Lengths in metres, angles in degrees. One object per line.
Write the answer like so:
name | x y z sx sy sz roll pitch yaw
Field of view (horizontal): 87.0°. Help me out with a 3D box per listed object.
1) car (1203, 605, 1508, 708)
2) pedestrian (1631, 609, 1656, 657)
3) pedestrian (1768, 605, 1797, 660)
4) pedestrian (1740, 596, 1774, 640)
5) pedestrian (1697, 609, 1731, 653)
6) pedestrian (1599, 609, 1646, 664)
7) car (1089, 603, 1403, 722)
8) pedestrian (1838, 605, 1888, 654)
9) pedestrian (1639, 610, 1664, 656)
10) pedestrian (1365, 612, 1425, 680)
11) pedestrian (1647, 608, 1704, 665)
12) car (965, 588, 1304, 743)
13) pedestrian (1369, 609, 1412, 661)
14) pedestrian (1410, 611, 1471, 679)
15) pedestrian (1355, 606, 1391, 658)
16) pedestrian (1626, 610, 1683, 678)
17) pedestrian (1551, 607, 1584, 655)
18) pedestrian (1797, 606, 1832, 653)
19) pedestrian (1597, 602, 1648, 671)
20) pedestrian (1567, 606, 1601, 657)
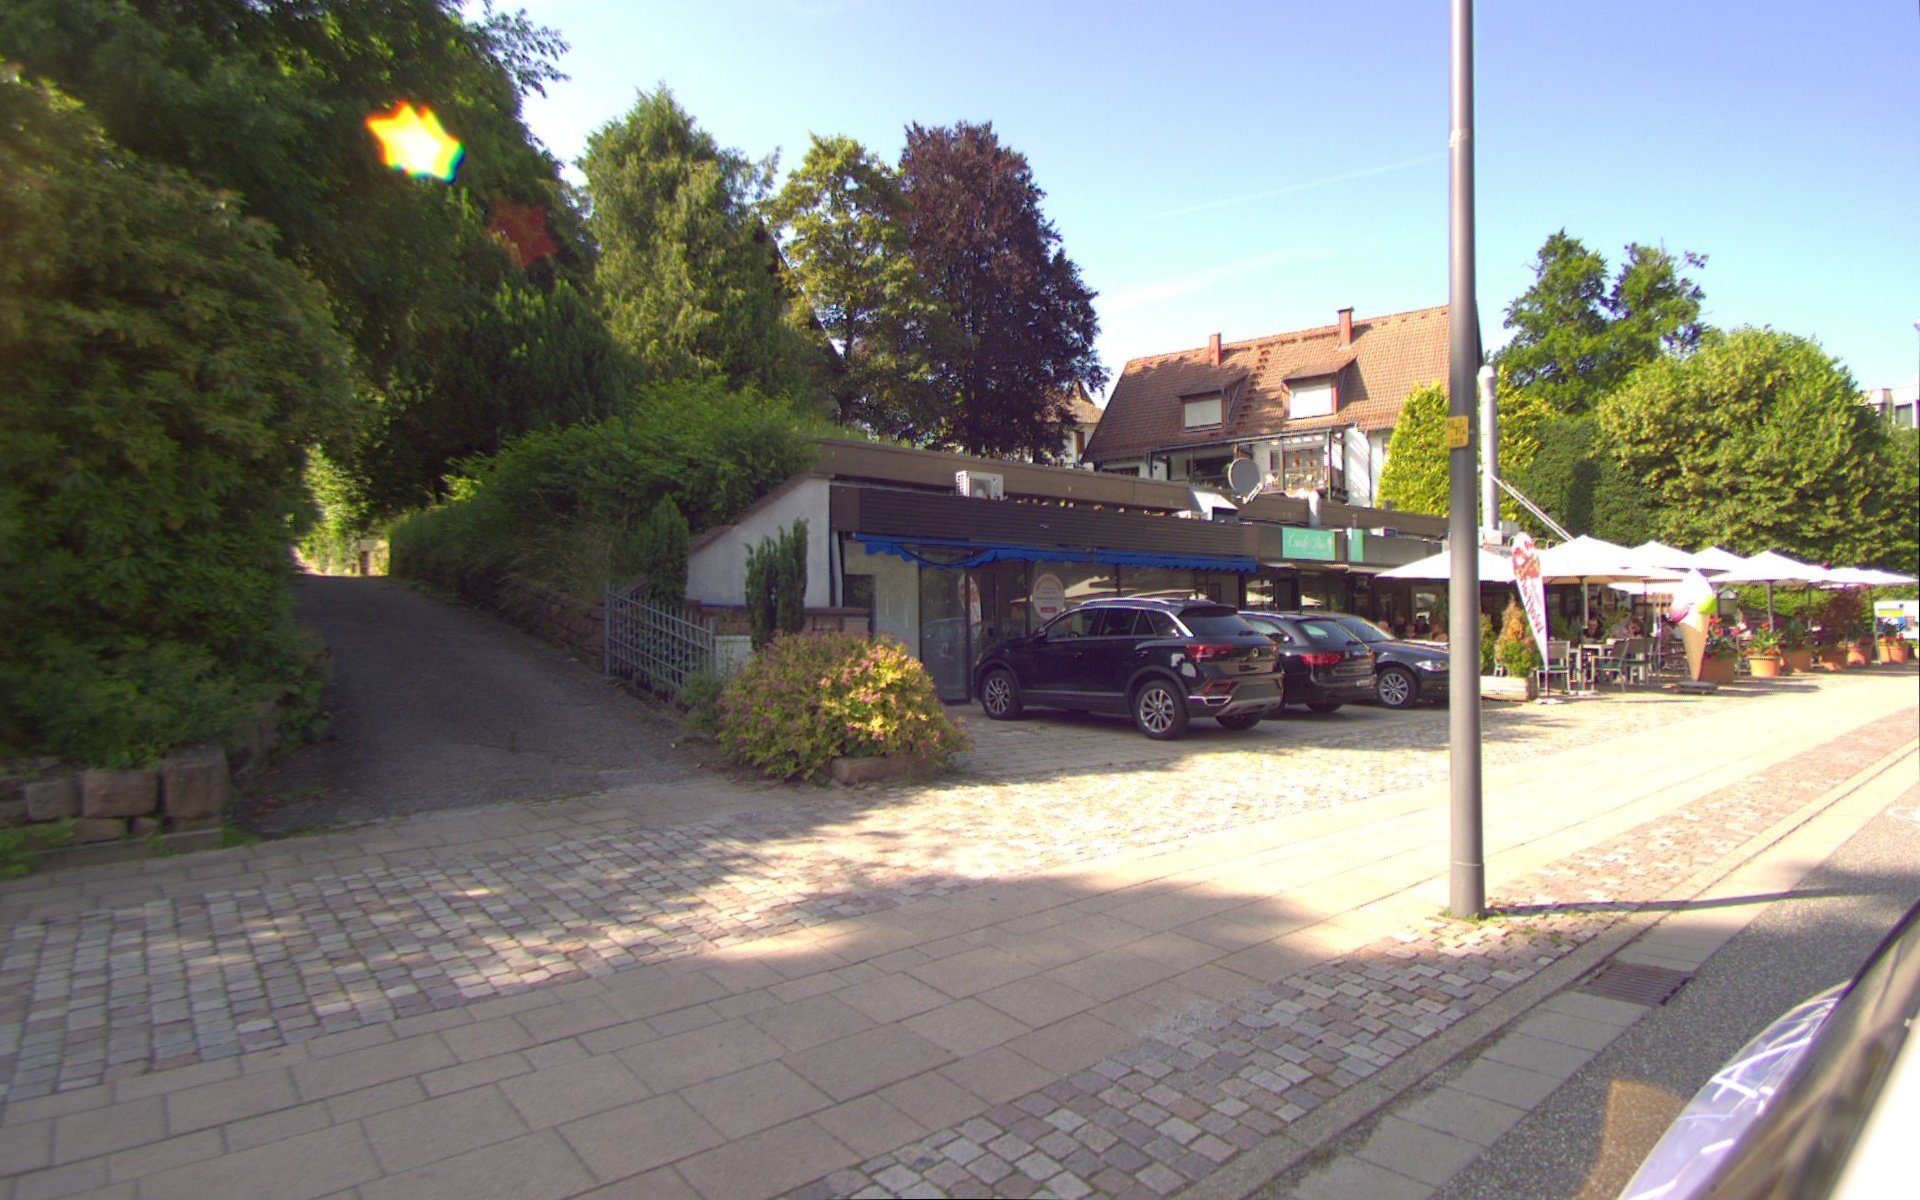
car | 6.130 0.808 16.148 1.678 1.396 4.272 0 -1 -38
pedestrian | 18.634 0.889 27.585 0.433 1.281 0.469 1 -1 -43
pedestrian | 19.631 0.767 24.160 0.470 1.261 0.586 0 0 35
pedestrian | 23.095 0.509 29.337 0.585 1.253 0.507 0 -1 10
pedestrian | 22.180 0.903 29.762 0.685 1.247 0.509 0 -1 -19
pedestrian | 15.637 0.855 23.906 0.690 1.277 0.808 0 -1 15
car | 3.947 0.796 14.563 1.717 1.433 4.119 0 -1 -38
pedestrian | 24.518 0.777 27.484 0.634 1.300 0.950 1 -1 -41
pedestrian | 19.707 0.925 28.839 0.498 1.284 0.410 1 -1 -29
pedestrian | 8.421 0.877 19.599 0.795 1.277 0.702 0 -1 -13
pedestrian | 16.665 0.835 23.574 0.686 1.277 0.814 0 -1 -20
car | 2.009 0.706 12.484 1.719 1.600 3.879 0 -1 -43
pedestrian | 10.336 0.830 24.315 0.686 1.224 0.688 0 -1 -7
pedestrian | 9.316 0.860 19.630 0.795 1.277 0.702 0 -1 -13
pedestrian | 10.517 0.801 25.793 0.625 1.316 0.687 0 -1 0
pedestrian | 13.324 0.826 19.415 0.809 1.277 0.690 -1 -1 42
pedestrian | 16.577 0.840 27.608 0.629 1.298 0.578 0 0 15
pedestrian | 23.954 0.813 28.372 0.634 1.300 0.648 1 -1 -41
pedestrian | 13.710 0.736 20.967 0.692 1.399 0.807 -1 -1 21
pedestrian | 16.502 0.827 26.764 0.629 1.321 0.578 0 0 15
